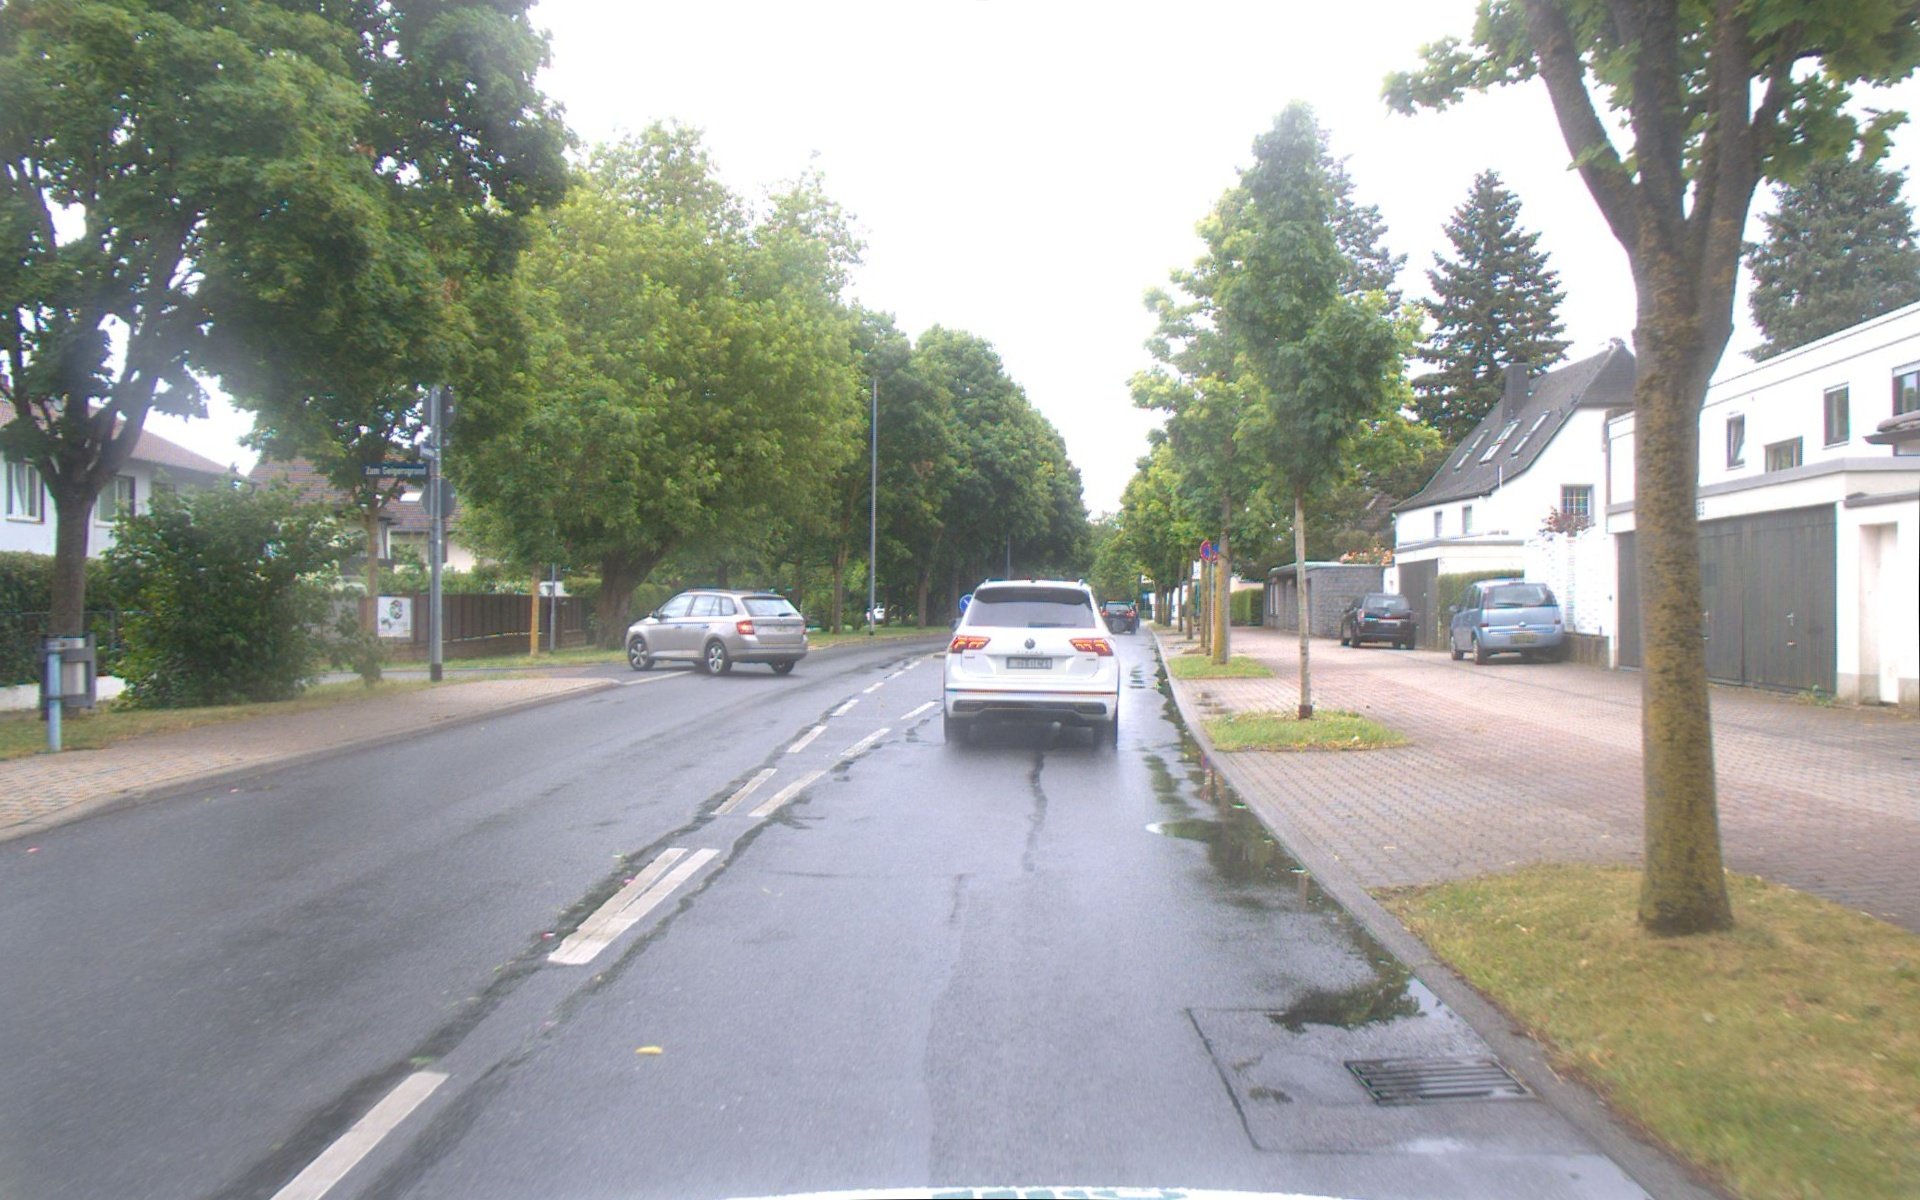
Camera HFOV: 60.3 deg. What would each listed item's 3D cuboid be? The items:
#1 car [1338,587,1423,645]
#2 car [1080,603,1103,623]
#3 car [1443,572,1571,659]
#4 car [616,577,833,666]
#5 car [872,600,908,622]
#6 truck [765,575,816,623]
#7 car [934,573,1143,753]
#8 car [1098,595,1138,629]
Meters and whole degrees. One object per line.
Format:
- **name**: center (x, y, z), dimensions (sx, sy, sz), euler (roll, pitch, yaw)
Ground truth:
- **car**: center (11.631, 0.421, 45.989), dimensions (1.733, 1.524, 4.547), euler (-1, 0, 7)
- **car**: center (11.011, 1.086, 138.219), dimensions (1.776, 1.677, 4.002), euler (1, 0, 5)
- **car**: center (10.972, 0.301, 33.410), dimensions (1.706, 1.639, 4.003), euler (-1, 0, 7)
- **car**: center (-4.350, 0.413, 30.309), dimensions (3.928, 1.513, 1.836), euler (-2, -1, 42)
- **car**: center (-4.811, 0.751, 113.044), dimensions (1.809, 1.508, 3.986), euler (0, 0, -13)
- **truck**: center (-9.594, -0.033, 94.067), dimensions (2.238, 2.642, 5.874), euler (0, 0, 0)
- **car**: center (0.903, 0.604, 17.949), dimensions (1.955, 1.660, 4.002), euler (2, 0, 4)
- **car**: center (7.517, 0.551, 78.520), dimensions (1.802, 1.513, 4.003), euler (3, 0, 6)
